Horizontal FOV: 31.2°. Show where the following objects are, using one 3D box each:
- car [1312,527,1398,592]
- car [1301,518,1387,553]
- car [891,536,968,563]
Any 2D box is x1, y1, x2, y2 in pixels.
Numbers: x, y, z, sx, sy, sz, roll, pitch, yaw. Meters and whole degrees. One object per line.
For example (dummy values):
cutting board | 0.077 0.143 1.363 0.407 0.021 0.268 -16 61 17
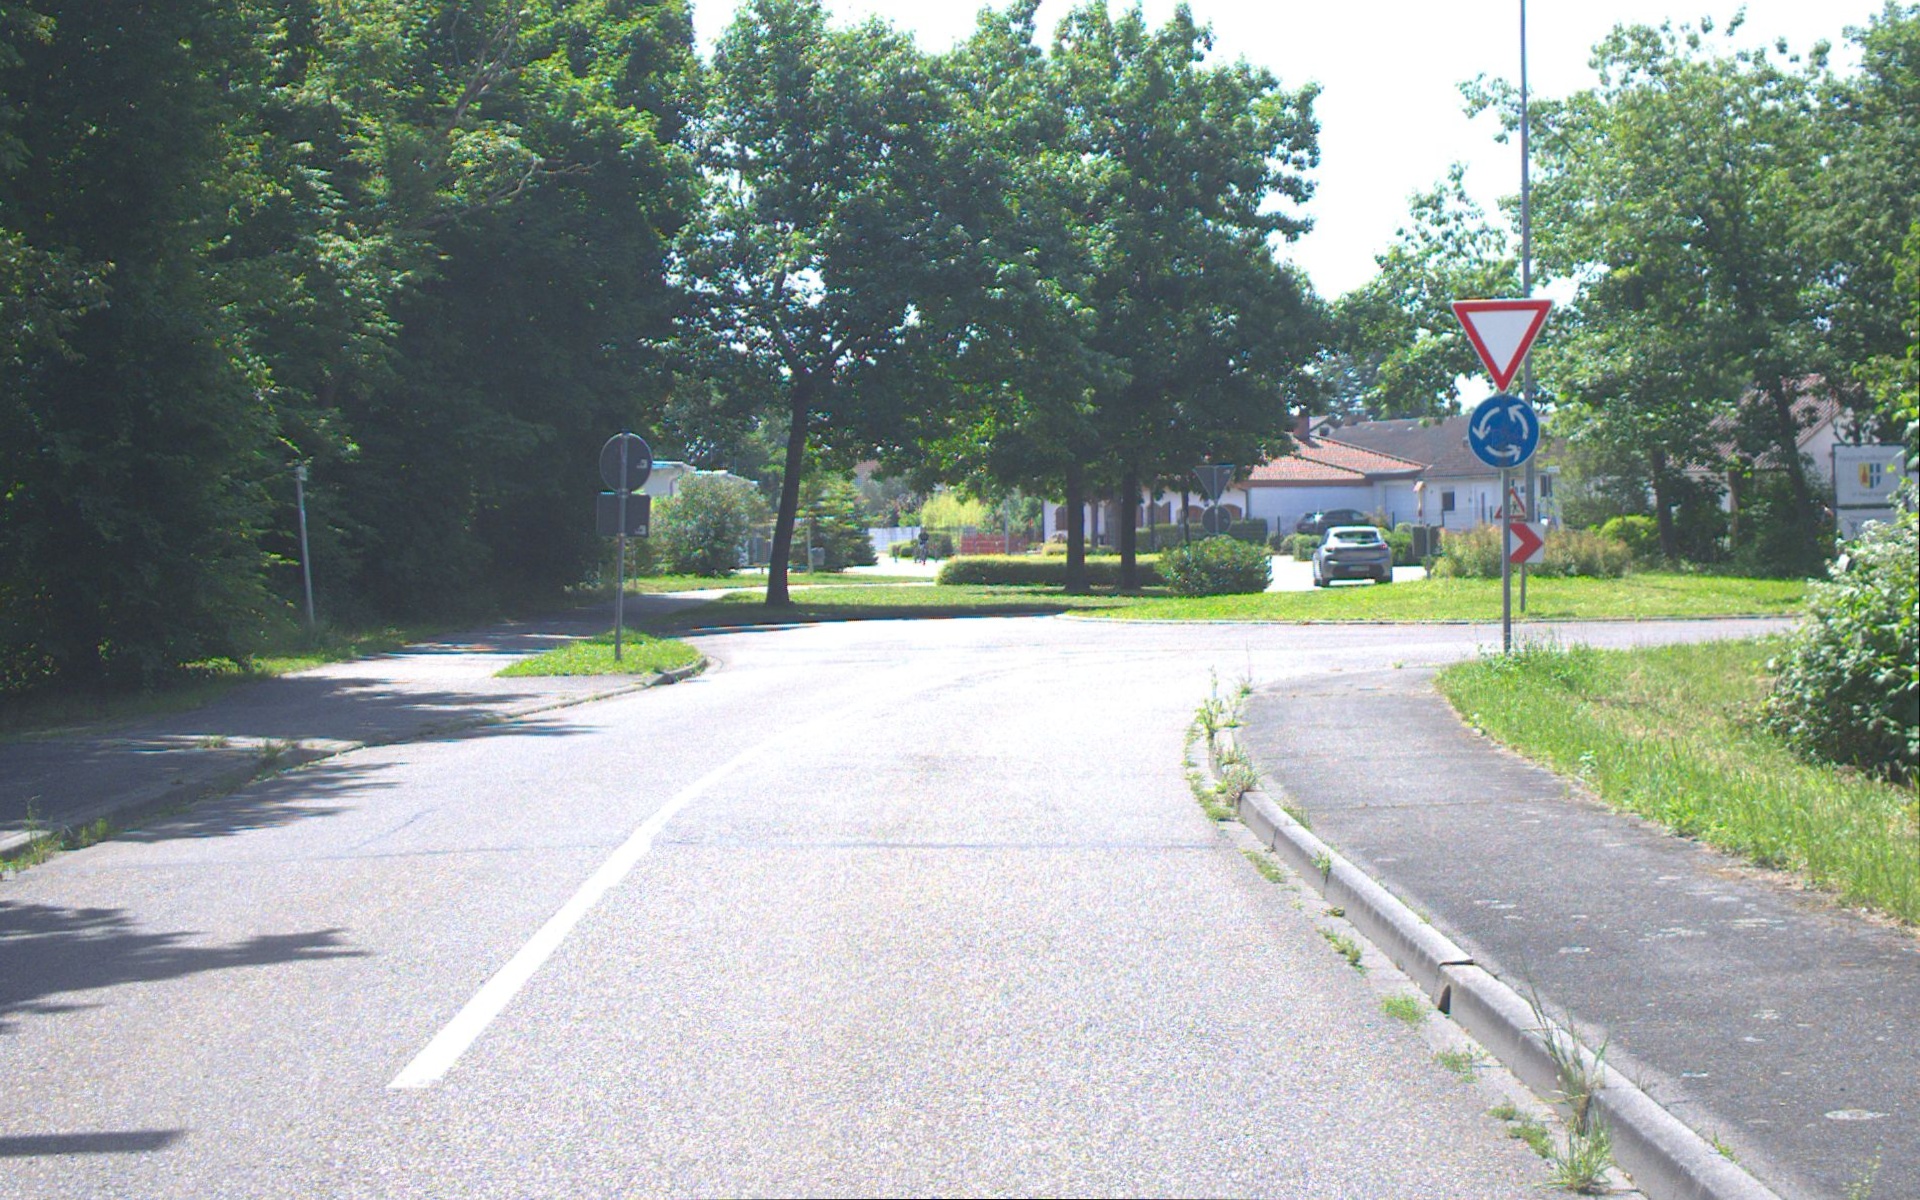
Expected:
car | 9.487 -0.989 82.823 1.628 1.481 4.000 -1 1 1
car | 17.656 -2.955 157.868 3.826 1.537 1.853 -2 1 -42
car | -1.492 -2.425 165.294 1.993 1.284 4.000 -1 1 -29
